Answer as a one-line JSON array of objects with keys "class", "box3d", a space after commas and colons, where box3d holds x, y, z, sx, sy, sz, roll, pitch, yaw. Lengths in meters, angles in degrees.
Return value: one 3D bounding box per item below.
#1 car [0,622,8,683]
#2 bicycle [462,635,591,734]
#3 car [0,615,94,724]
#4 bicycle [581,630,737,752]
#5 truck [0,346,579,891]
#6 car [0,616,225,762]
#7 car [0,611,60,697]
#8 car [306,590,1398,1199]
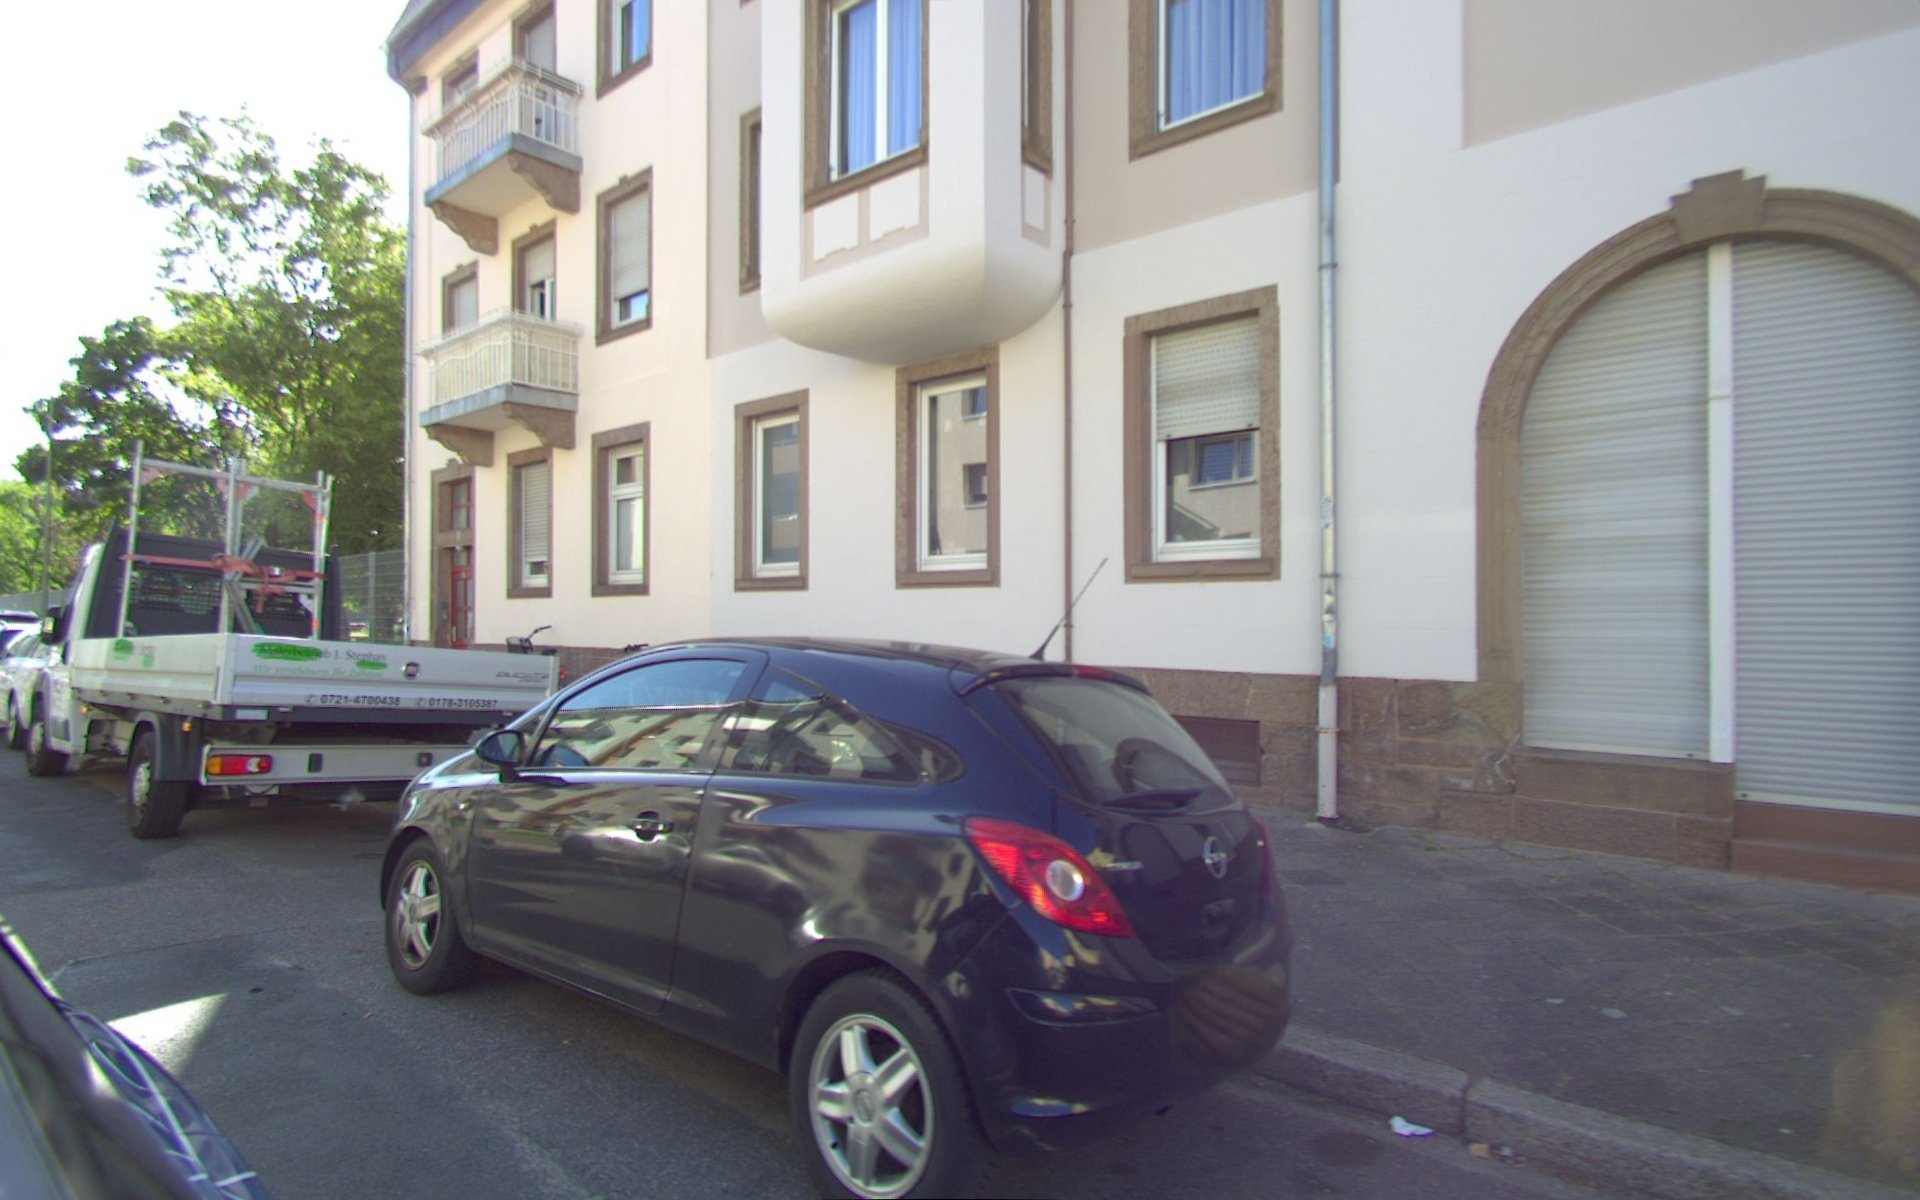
[{"class": "car", "box3d": [-25.645, 1.235, 25.506, 4.498, 1.482, 1.776, 0, -4, 40]}, {"class": "bicycle", "box3d": [-5.849, 1.088, 13.577, 2.339, 1.213, 0.623, -1, -2, 41]}, {"class": "car", "box3d": [-15.916, 1.066, 16.775, 4.458, 1.574, 1.773, 0, 0, 42]}, {"class": "bicycle", "box3d": [-3.545, 0.997, 11.777, 2.339, 1.289, 0.563, -1, -2, 41]}, {"class": "truck", "box3d": [-6.291, 0.111, 8.783, 7.269, 3.009, 2.236, 0, -1, 40]}, {"class": "car", "box3d": [-11.295, 1.085, 12.939, 4.636, 1.553, 1.774, -1, -7, 39]}, {"class": "car", "box3d": [-20.682, 1.057, 21.317, 4.928, 1.676, 1.859, 0, -3, 40]}, {"class": "car", "box3d": [-0.725, 0.756, 3.828, 4.076, 1.426, 1.629, 0, -5, 39]}]
